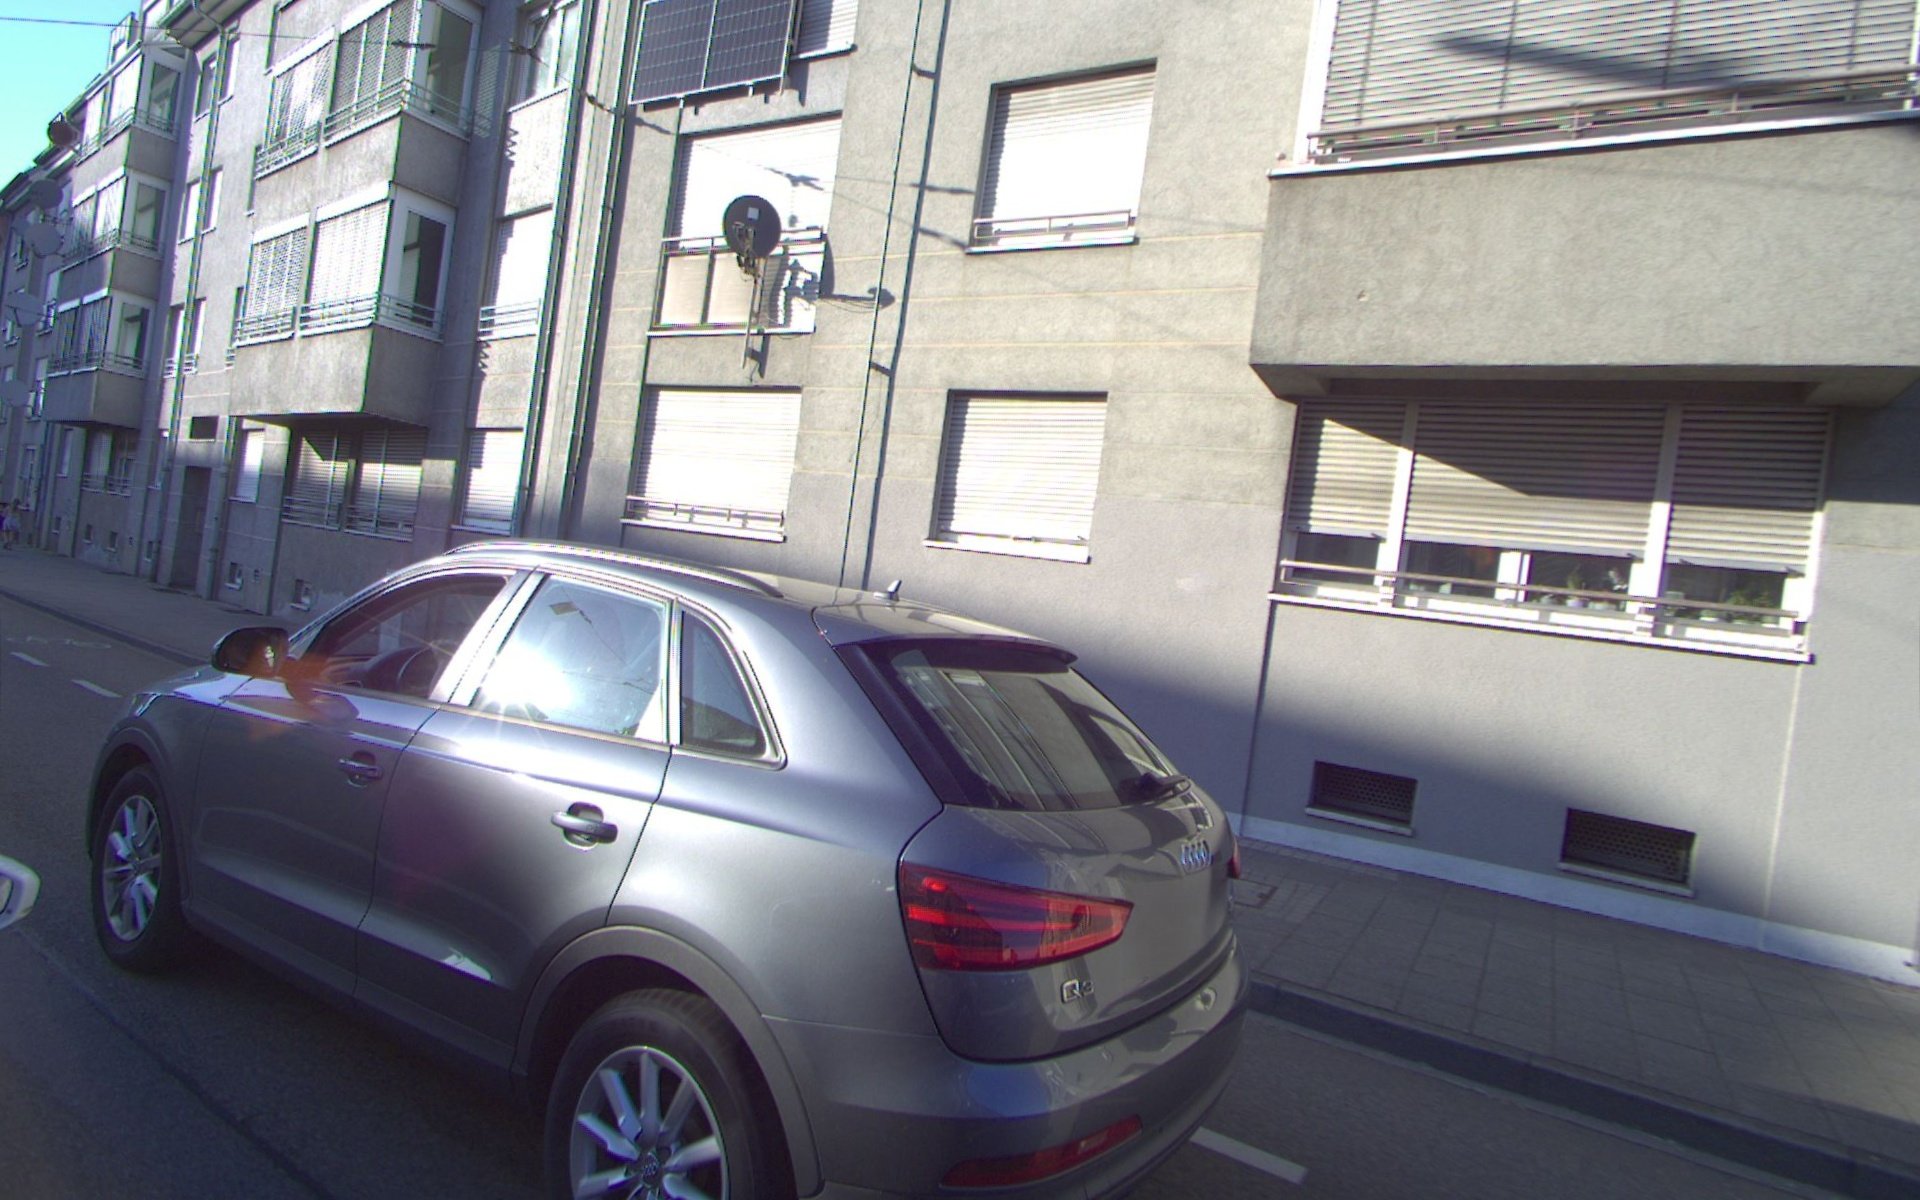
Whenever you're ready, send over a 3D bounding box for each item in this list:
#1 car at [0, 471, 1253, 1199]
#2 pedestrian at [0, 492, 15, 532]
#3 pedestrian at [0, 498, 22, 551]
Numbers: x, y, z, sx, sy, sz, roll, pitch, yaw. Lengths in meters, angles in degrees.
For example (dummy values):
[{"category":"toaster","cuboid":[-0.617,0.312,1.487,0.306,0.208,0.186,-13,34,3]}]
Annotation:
[{"category":"car","cuboid":[-1.325,0.631,3.443,4.000,1.606,1.769,8,0,31]},{"category":"pedestrian","cuboid":[-31.594,-2.927,33.077,0.576,1.267,0.586,8,1,40]},{"category":"pedestrian","cuboid":[-25.730,-2.048,27.084,0.600,1.361,0.514,6,1,37]}]
